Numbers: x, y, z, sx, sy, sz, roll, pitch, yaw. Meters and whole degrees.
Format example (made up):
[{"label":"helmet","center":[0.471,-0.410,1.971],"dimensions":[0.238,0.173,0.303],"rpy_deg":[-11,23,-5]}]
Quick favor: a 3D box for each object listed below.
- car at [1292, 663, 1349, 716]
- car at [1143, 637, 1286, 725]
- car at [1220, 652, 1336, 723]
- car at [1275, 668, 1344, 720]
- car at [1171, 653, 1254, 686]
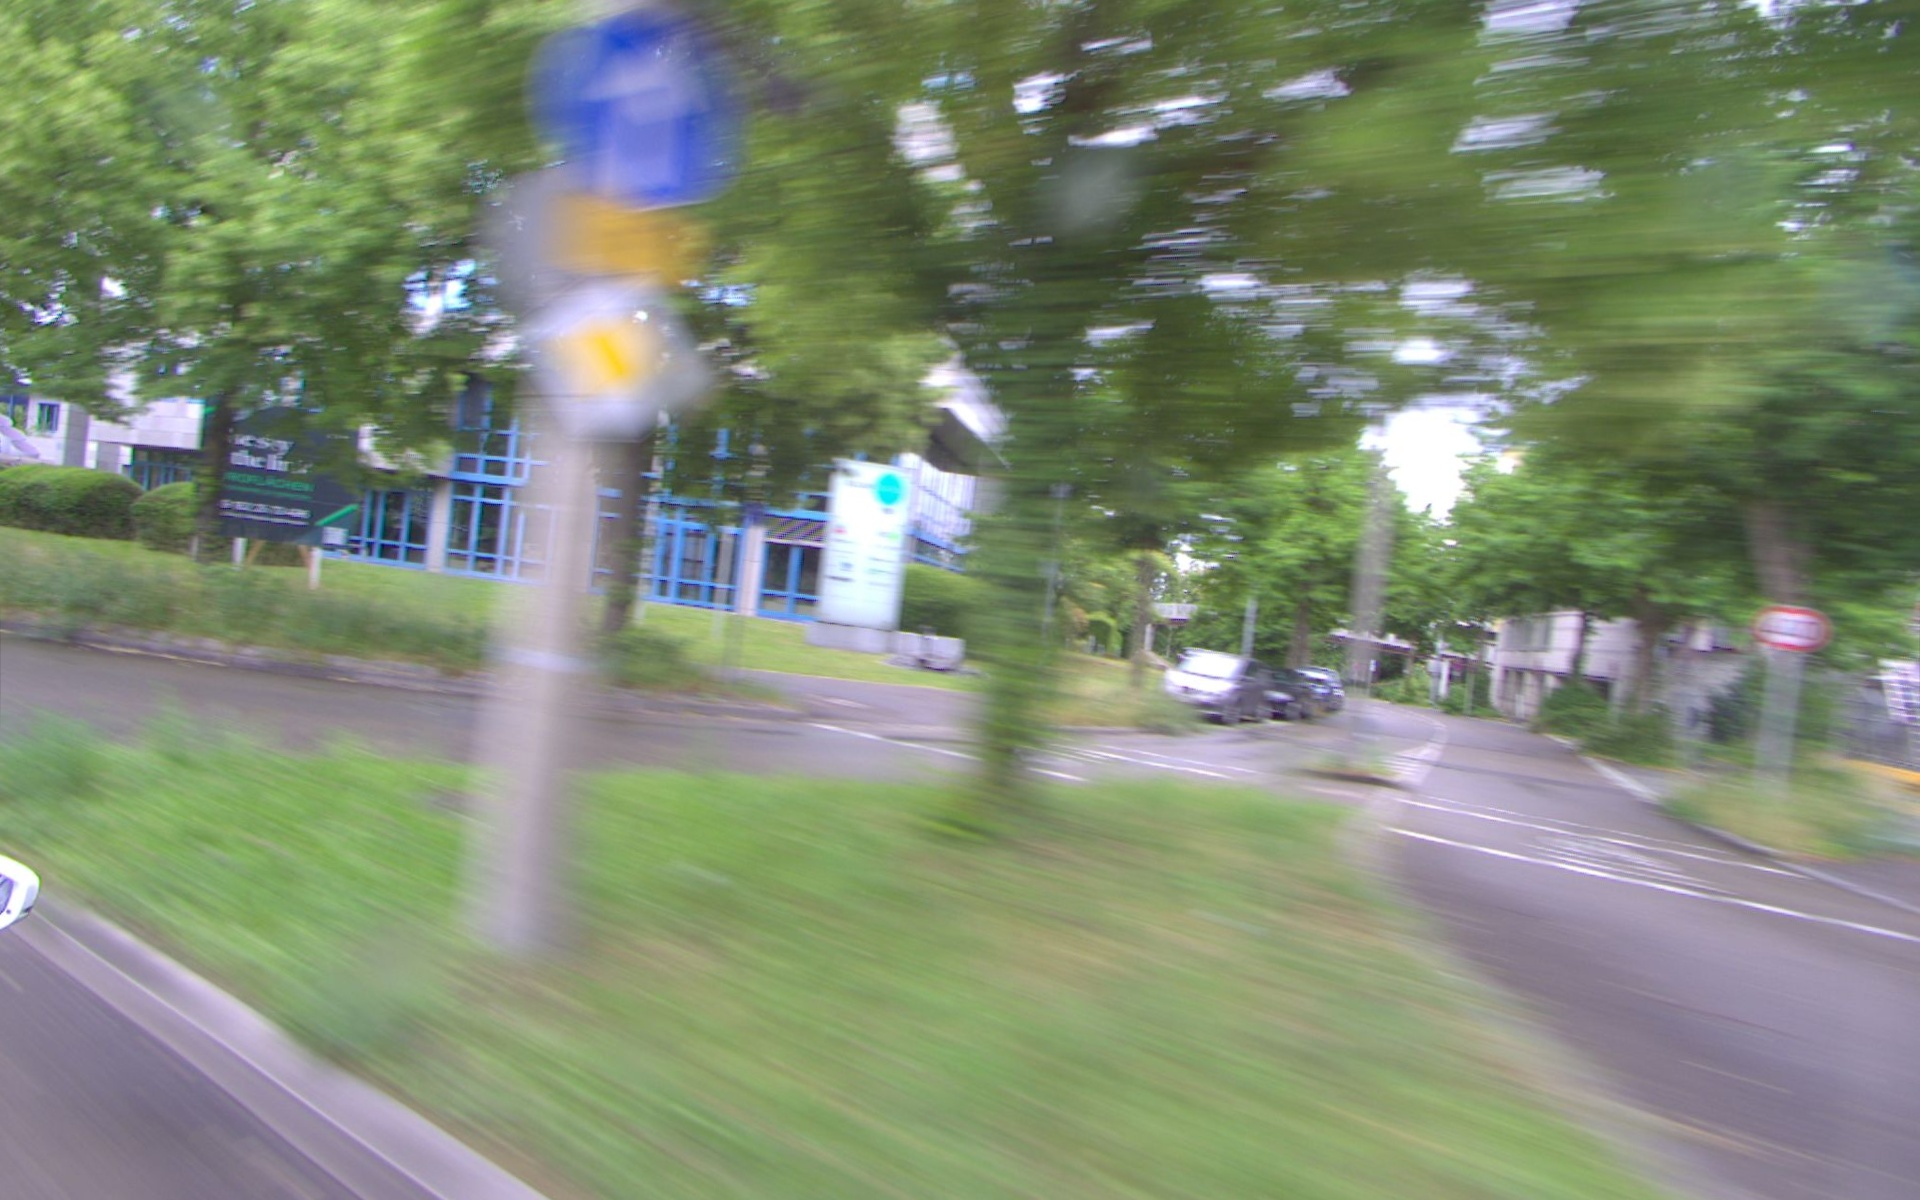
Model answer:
[{"label":"car","center":[14.278,3.503,40.045],"dimensions":[1.725,1.641,4.111],"rpy_deg":[9,0,17]},{"label":"car","center":[6.122,1.956,23.911],"dimensions":[1.730,1.662,4.098],"rpy_deg":[9,0,36]},{"label":"car","center":[9.009,2.487,28.293],"dimensions":[1.730,1.598,4.098],"rpy_deg":[9,0,36]},{"label":"car","center":[12.302,3.239,35.285],"dimensions":[1.726,1.450,4.108],"rpy_deg":[9,0,25]},{"label":"car","center":[15.627,4.306,62.376],"dimensions":[4.560,1.417,1.750],"rpy_deg":[6,-2,41]}]
